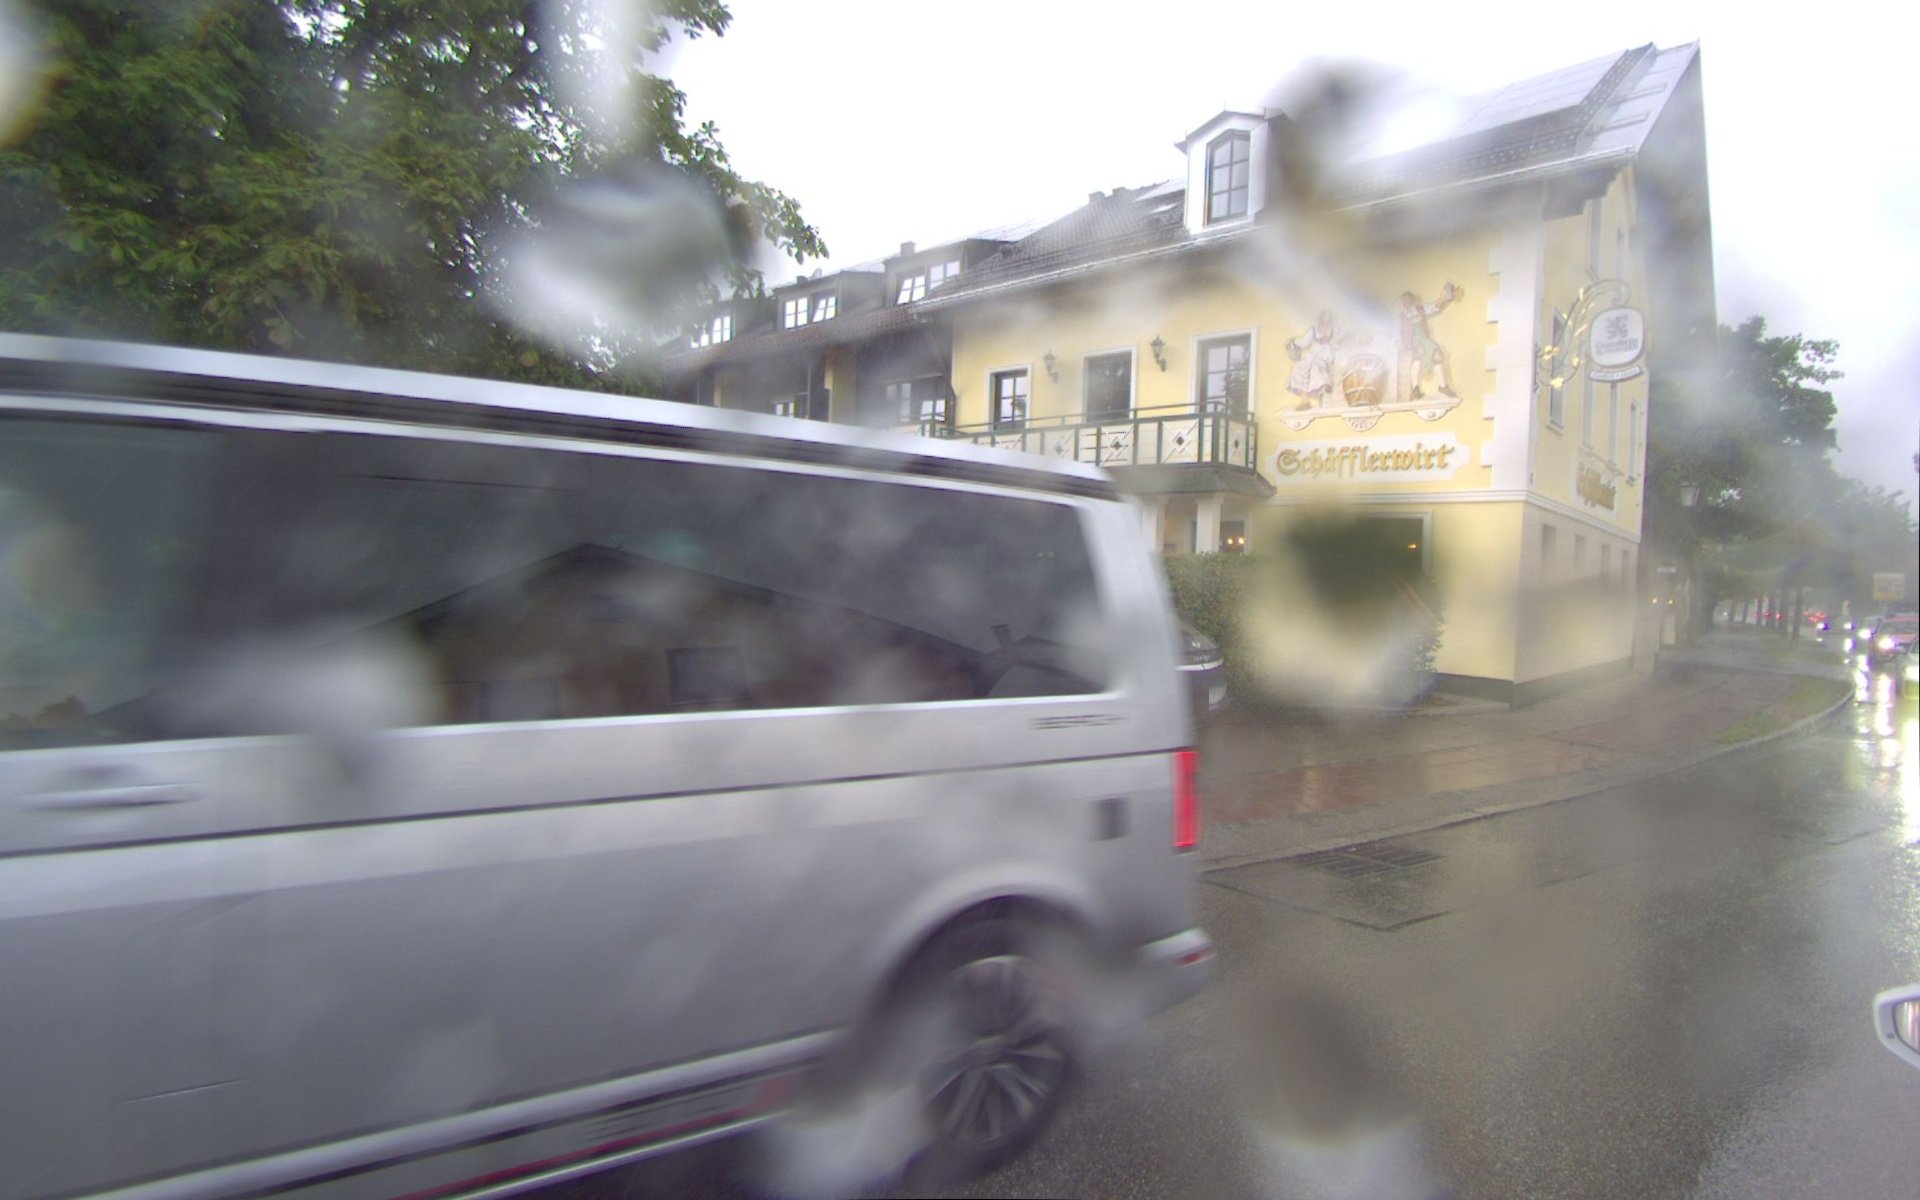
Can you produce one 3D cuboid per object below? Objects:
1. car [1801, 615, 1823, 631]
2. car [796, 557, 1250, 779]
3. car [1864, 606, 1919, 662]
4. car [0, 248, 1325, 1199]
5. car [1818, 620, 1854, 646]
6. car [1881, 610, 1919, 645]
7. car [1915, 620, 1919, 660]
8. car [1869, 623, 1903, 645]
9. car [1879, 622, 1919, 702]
[{"bbox_3d":[96.387,2.579,113.573,1.841,1.781,4.460,-2,-2,41],"label":"car"},{"bbox_3d":[0.482,0.479,10.391,4.421,1.589,1.830,6,6,39],"label":"car"},{"bbox_3d":[31.556,1.113,33.635,1.842,1.781,4.459,-2,-2,42],"label":"car"},{"bbox_3d":[-1.268,0.487,2.779,4.651,1.997,1.840,2,-1,-33],"label":"car"},{"bbox_3d":[63.086,2.357,72.379,1.841,1.781,4.460,-2,-2,41],"label":"car"},{"bbox_3d":[57.211,1.611,60.595,2.144,1.925,4.989,3,2,40],"label":"car"},{"bbox_3d":[49.056,2.054,49.771,2.144,1.925,4.989,3,2,40],"label":"car"},{"bbox_3d":[90.465,3.275,98.168,2.144,1.925,4.989,3,2,40],"label":"car"},{"bbox_3d":[19.022,1.155,19.272,1.840,1.377,4.462,0,0,40],"label":"car"}]
